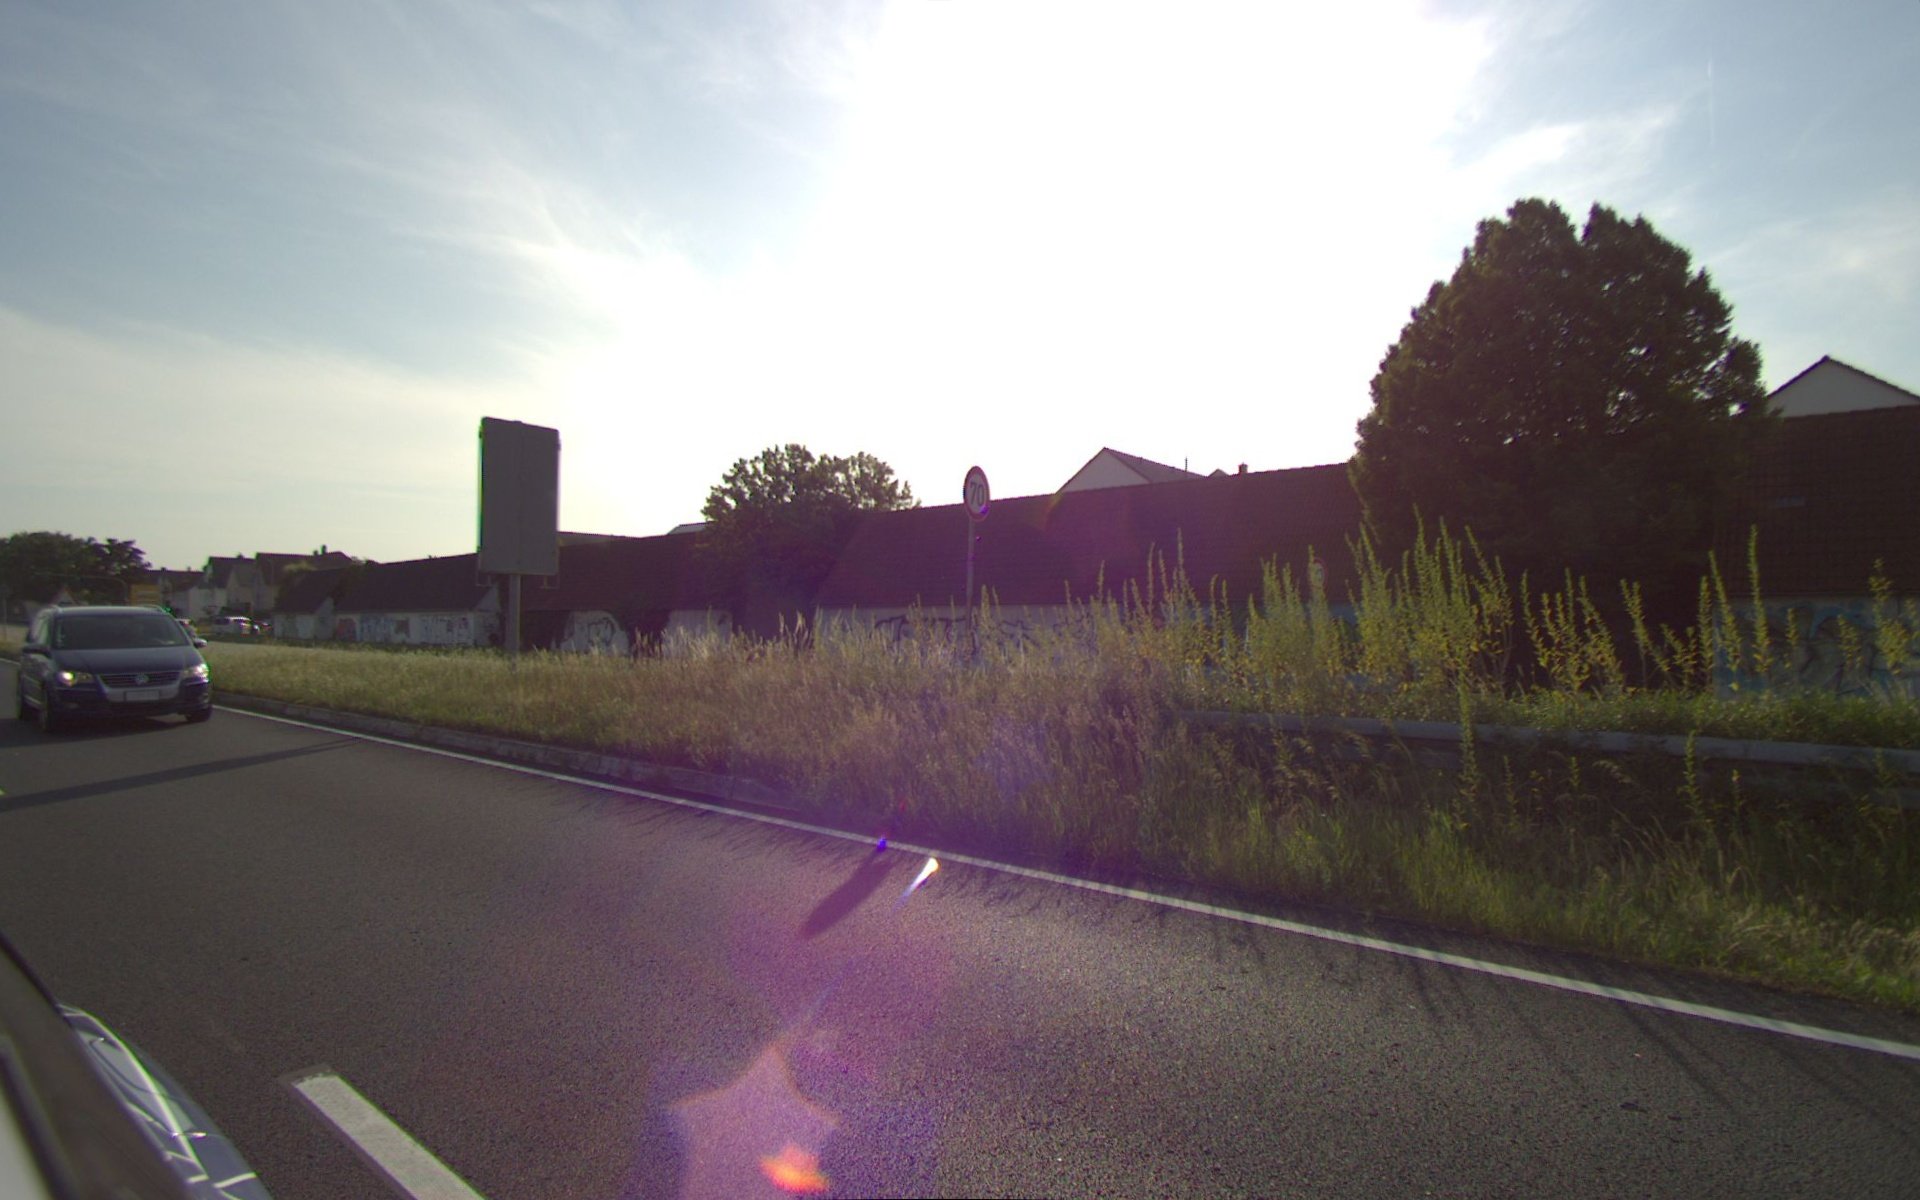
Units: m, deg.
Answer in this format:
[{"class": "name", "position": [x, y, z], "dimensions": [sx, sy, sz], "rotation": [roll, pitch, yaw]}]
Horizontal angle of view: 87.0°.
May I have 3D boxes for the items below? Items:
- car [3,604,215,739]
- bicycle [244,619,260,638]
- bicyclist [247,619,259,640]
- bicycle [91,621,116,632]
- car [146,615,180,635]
[{"class": "car", "position": [-12.343, 0.883, 14.559], "dimensions": [4.681, 1.633, 1.753], "rotation": [0, 0, 43]}, {"class": "bicycle", "position": [-70.173, 2.828, 100.346], "dimensions": [2.606, 1.762, 0.745], "rotation": [0, 0, 42]}, {"class": "bicyclist", "position": [-70.045, 2.935, 100.256], "dimensions": [1.062, 2.029, 0.762], "rotation": [0, 0, 41]}, {"class": "bicycle", "position": [-98.324, 3.016, 116.212], "dimensions": [2.128, 1.201, 0.905], "rotation": [2, -1, -40]}, {"class": "car", "position": [-73.023, 2.277, 92.728], "dimensions": [4.760, 1.720, 1.815], "rotation": [0, -3, 45]}]
